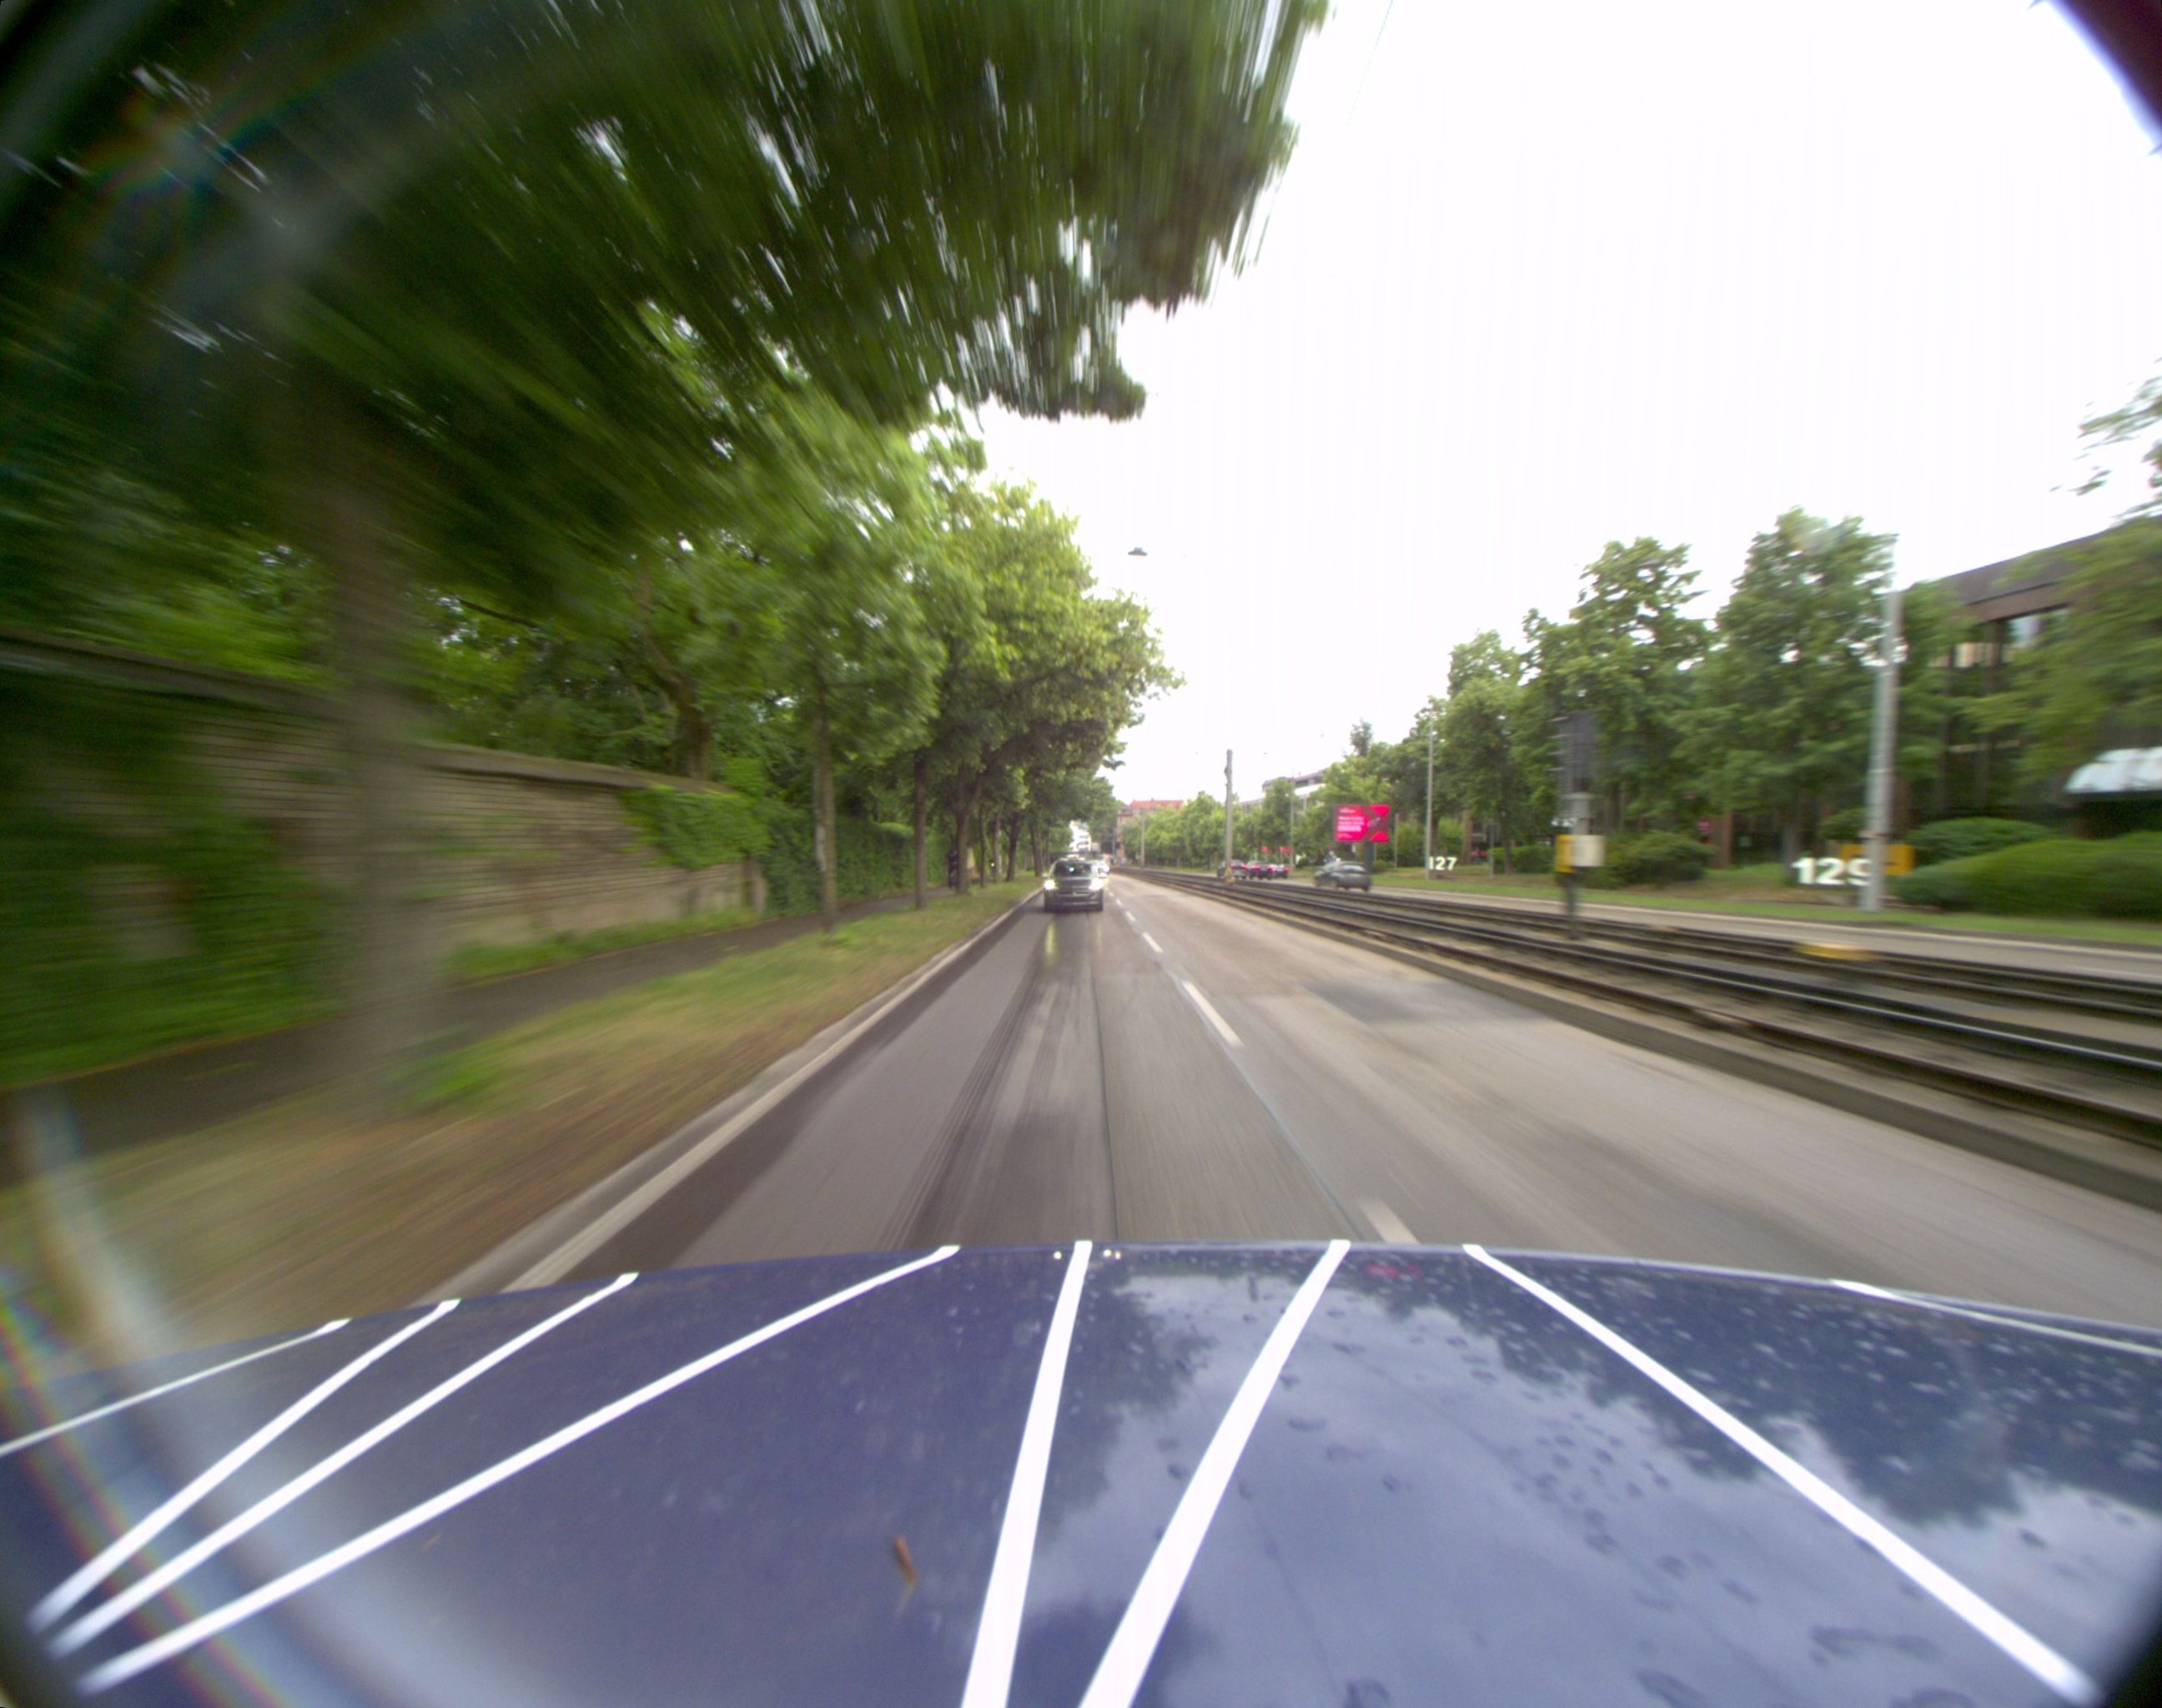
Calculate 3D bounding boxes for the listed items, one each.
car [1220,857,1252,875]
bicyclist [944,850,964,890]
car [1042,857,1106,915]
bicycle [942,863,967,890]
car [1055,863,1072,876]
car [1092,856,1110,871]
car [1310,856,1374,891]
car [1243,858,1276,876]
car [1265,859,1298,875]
[{"bbox_3d":[12.686,0.969,62.582,1.692,1.385,4.340,0,0,-1],"label":"car"},{"bbox_3d":[-5.535,0.688,33.232,0.692,1.717,0.894,0,0,1],"label":"bicyclist"},{"bbox_3d":[-0.157,0.892,23.229,1.746,1.544,4.494,-1,0,1],"label":"car"},{"bbox_3d":[-5.538,0.957,33.309,0.709,1.143,2.105,0,0,1],"label":"bicycle"},{"bbox_3d":[-2.029,1.776,87.913,1.769,1.502,4.339,0,0,-4],"label":"car"},{"bbox_3d":[2.061,0.955,76.350,1.768,1.502,4.341,0,0,2],"label":"car"},{"bbox_3d":[13.001,0.943,38.102,1.692,1.628,4.340,0,0,-1],"label":"car"},{"bbox_3d":[15.525,1.103,66.339,1.769,1.502,4.340,0,0,-1],"label":"car"},{"bbox_3d":[19.289,1.193,73.144,1.958,1.493,4.340,0,0,-1],"label":"car"}]
